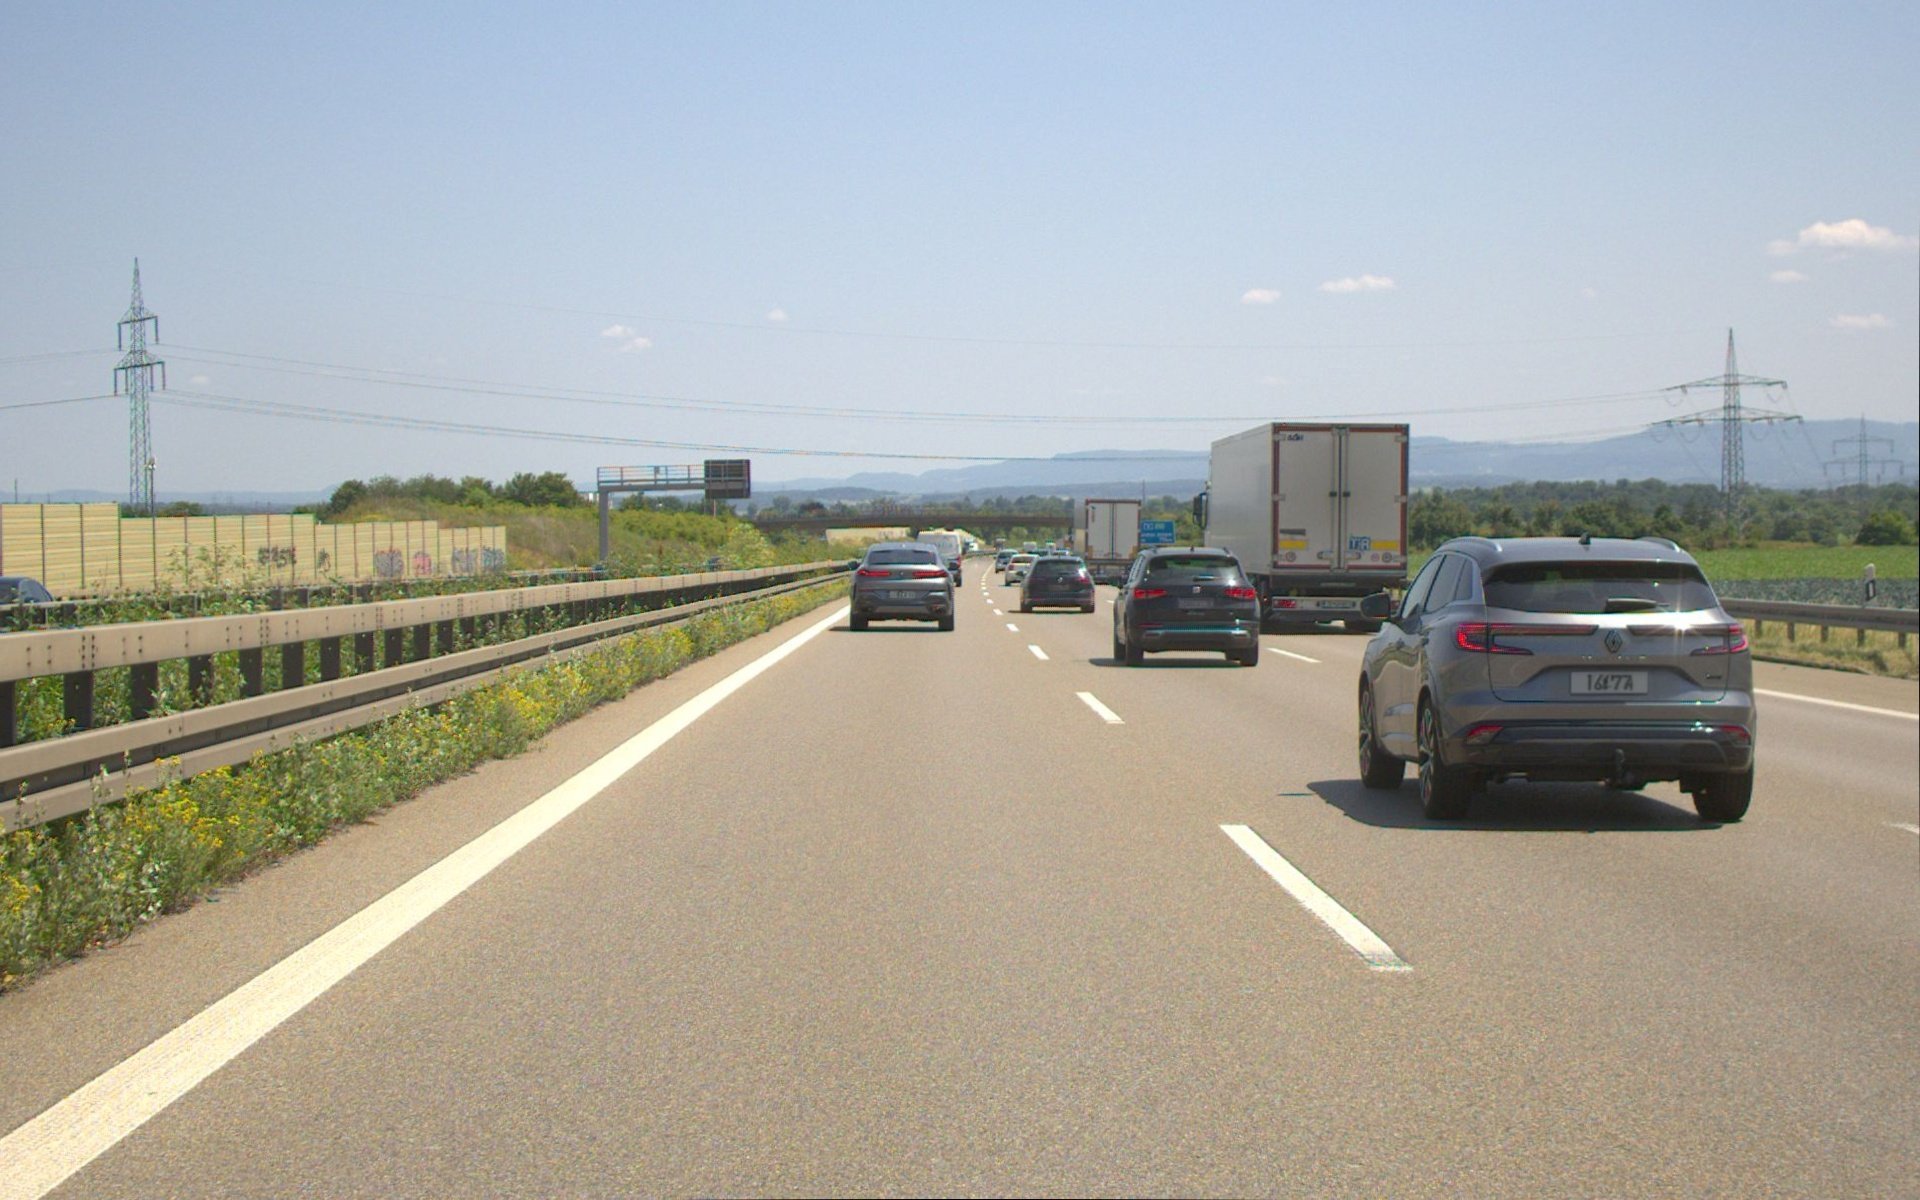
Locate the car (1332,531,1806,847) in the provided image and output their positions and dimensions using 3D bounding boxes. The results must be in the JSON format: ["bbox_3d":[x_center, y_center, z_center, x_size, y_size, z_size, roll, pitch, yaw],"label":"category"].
[{"bbox_3d":[3.468,0.439,20.472,1.851,1.643,4.645,1,1,-2],"label":"car"}]

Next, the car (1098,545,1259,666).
[{"bbox_3d":[2.936,0.057,46.843,1.796,1.556,3.824,1,1,-2],"label":"car"}]

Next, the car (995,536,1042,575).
[{"bbox_3d":[2.573,-1.958,151.044,1.993,1.677,4.000,1,1,1],"label":"car"}]

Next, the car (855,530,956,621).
[{"bbox_3d":[-1.081,-0.474,66.185,1.851,1.658,3.735,1,0,-2],"label":"car"}]

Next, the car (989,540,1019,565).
[{"bbox_3d":[2.973,-3.220,233.945,1.993,1.677,4.000,1,1,1],"label":"car"}]

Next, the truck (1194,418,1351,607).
[{"bbox_3d":[7.087,-1.950,78.813,2.862,4.077,6.880,1,0,0],"label":"truck"}]

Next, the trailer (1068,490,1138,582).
[{"bbox_3d":[6.813,-2.997,165.226,2.943,4.184,13.596,1,1,1],"label":"trailer"}]

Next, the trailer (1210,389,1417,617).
[{"bbox_3d":[7.088,-1.871,70.830,2.868,4.205,13.295,1,1,0],"label":"trailer"}]

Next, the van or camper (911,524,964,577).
[{"bbox_3d":[-0.932,-2.106,147.619,2.111,2.204,5.265,1,1,1],"label":"van or camper"}]

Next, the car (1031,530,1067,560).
[{"bbox_3d":[5.088,-3.158,197.590,1.993,1.677,4.000,1,1,1],"label":"car"}]

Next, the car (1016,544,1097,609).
[{"bbox_3d":[2.423,-0.598,87.580,1.933,1.569,4.934,1,1,0],"label":"car"}]
